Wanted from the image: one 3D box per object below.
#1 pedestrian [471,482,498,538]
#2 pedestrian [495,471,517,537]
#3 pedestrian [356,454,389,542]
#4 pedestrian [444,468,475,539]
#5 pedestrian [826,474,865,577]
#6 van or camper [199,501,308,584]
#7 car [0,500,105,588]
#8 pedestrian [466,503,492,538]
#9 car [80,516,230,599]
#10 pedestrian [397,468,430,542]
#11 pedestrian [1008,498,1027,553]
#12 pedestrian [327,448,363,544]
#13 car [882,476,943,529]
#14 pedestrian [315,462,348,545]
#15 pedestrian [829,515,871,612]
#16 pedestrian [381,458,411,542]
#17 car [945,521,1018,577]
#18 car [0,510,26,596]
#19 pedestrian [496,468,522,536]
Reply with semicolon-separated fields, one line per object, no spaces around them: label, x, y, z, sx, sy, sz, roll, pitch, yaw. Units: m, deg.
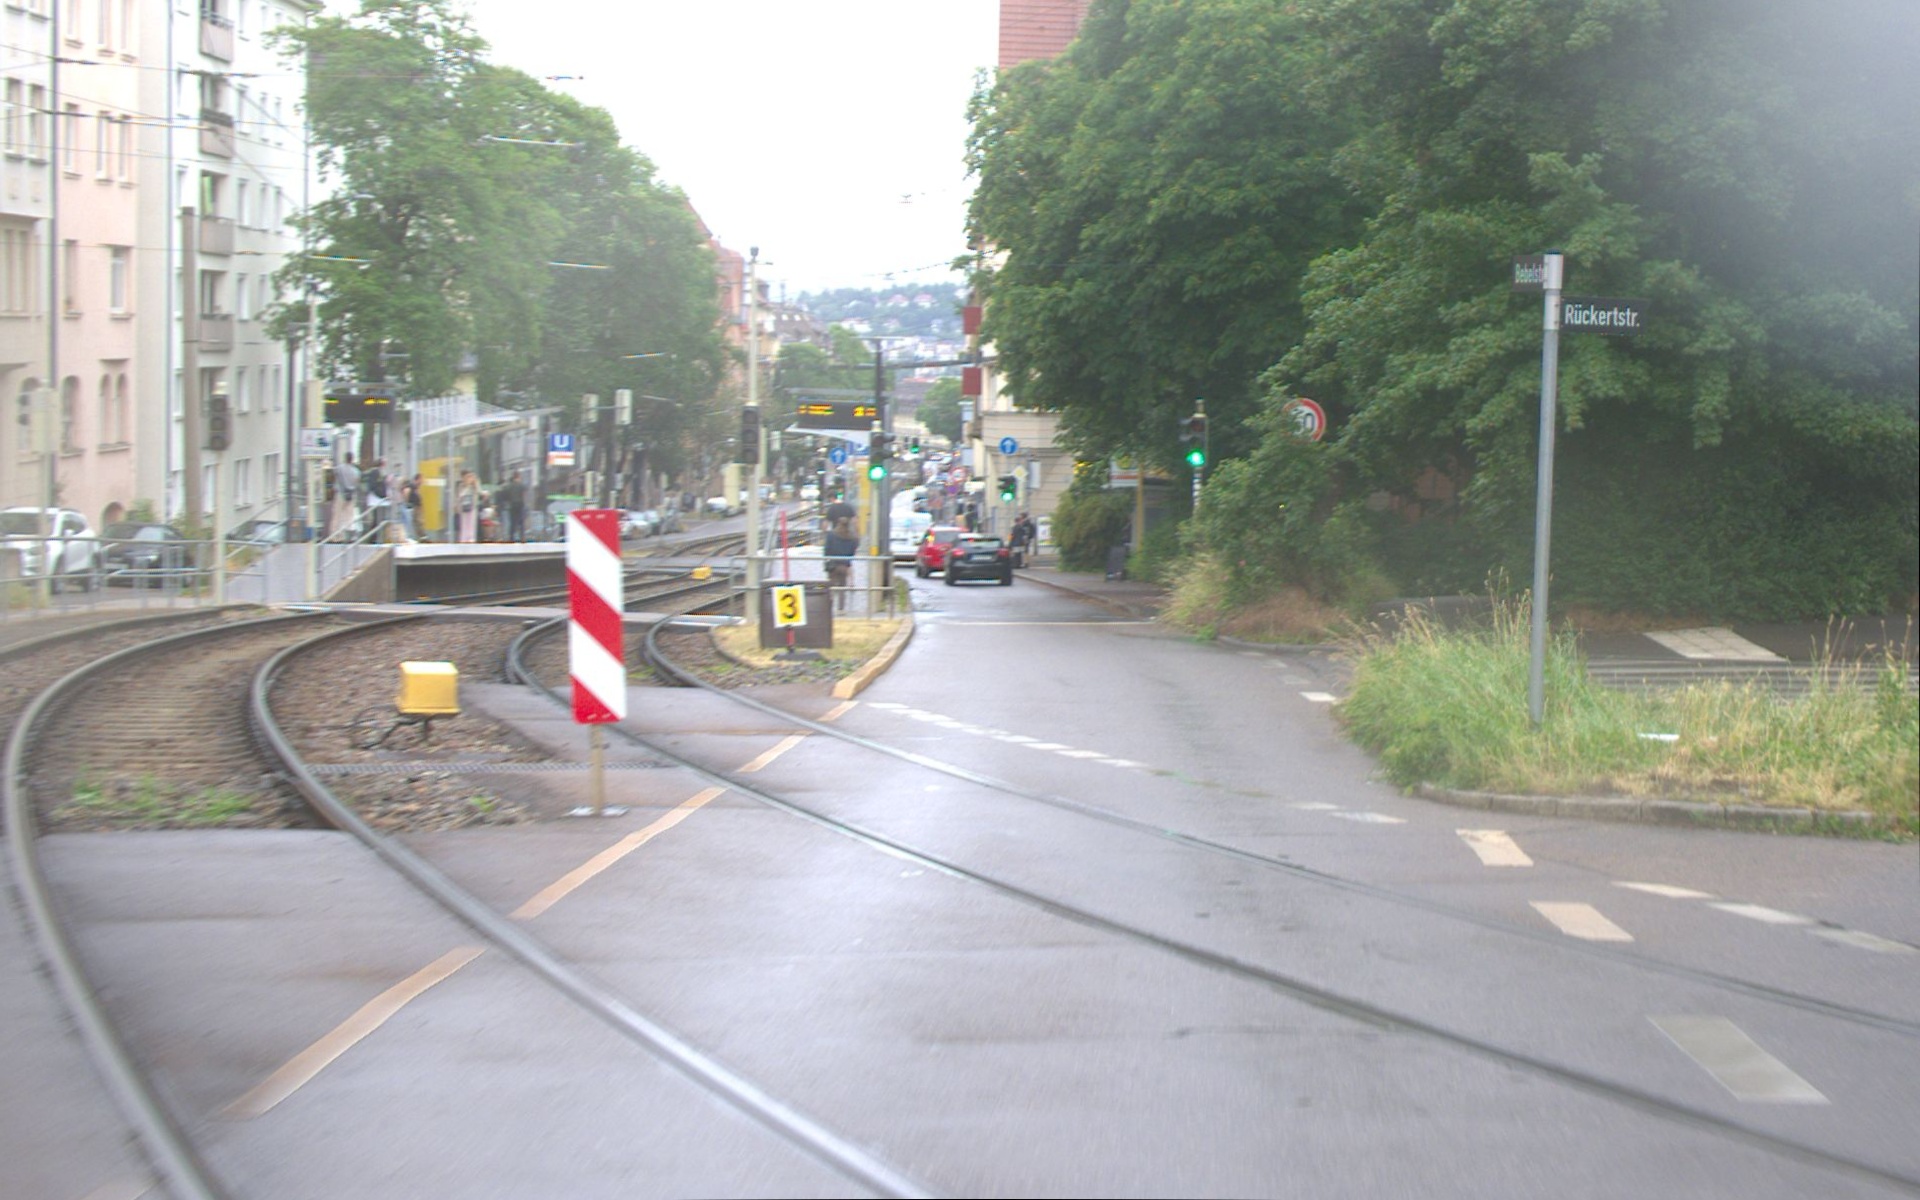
pedestrian;-12.015;-2.267;86.884;0.550;1.408;0.614;-1;1;-1
pedestrian;-12.102;-2.559;91.609;0.482;1.735;0.563;-1;1;-1
pedestrian;-12.277;-2.125;71.846;0.516;1.831;0.762;-1;1;-1
pedestrian;-11.842;-2.280;81.352;0.594;1.660;0.762;-1;1;-1
pedestrian;-1.985;-1.293;59.681;0.650;1.778;0.848;0;1;0
van or camper;-17.903;-1.485;87.236;1.993;2.006;4.001;-1;2;-1
car;-17.974;-1.086;65.972;1.923;1.617;4.535;-1;2;1
pedestrian;-12.029;-1.981;85.990;0.550;0.869;0.614;-1;1;-1
car;-17.507;-0.927;74.977;1.993;1.726;4.813;-1;0;2
pedestrian;-12.391;-2.142;77.923;0.594;1.660;0.762;-1;1;-1
pedestrian;1.906;-2.451;113.364;0.553;1.807;0.651;0;1;-3
pedestrian;-11.984;-2.015;66.972;0.561;1.843;0.599;-1;1;-1
car;-1.672;-3.368;119.675;1.948;1.786;4.145;1;1;-2
pedestrian;-12.350;-1.895;67.548;0.516;1.599;0.563;-1;1;-1
pedestrian;-1.773;-0.595;55.408;0.650;1.557;0.684;0;1;0
pedestrian;-12.366;-2.184;75.385;0.516;1.831;0.762;-1;1;-1
car;0.573;-1.429;94.792;1.851;1.468;4.001;0;2;-2
car;-18.038;-0.878;60.344;1.993;1.527;4.532;2;0;0
pedestrian;-11.556;-2.512;88.136;0.550;1.735;0.614;-1;1;-1
